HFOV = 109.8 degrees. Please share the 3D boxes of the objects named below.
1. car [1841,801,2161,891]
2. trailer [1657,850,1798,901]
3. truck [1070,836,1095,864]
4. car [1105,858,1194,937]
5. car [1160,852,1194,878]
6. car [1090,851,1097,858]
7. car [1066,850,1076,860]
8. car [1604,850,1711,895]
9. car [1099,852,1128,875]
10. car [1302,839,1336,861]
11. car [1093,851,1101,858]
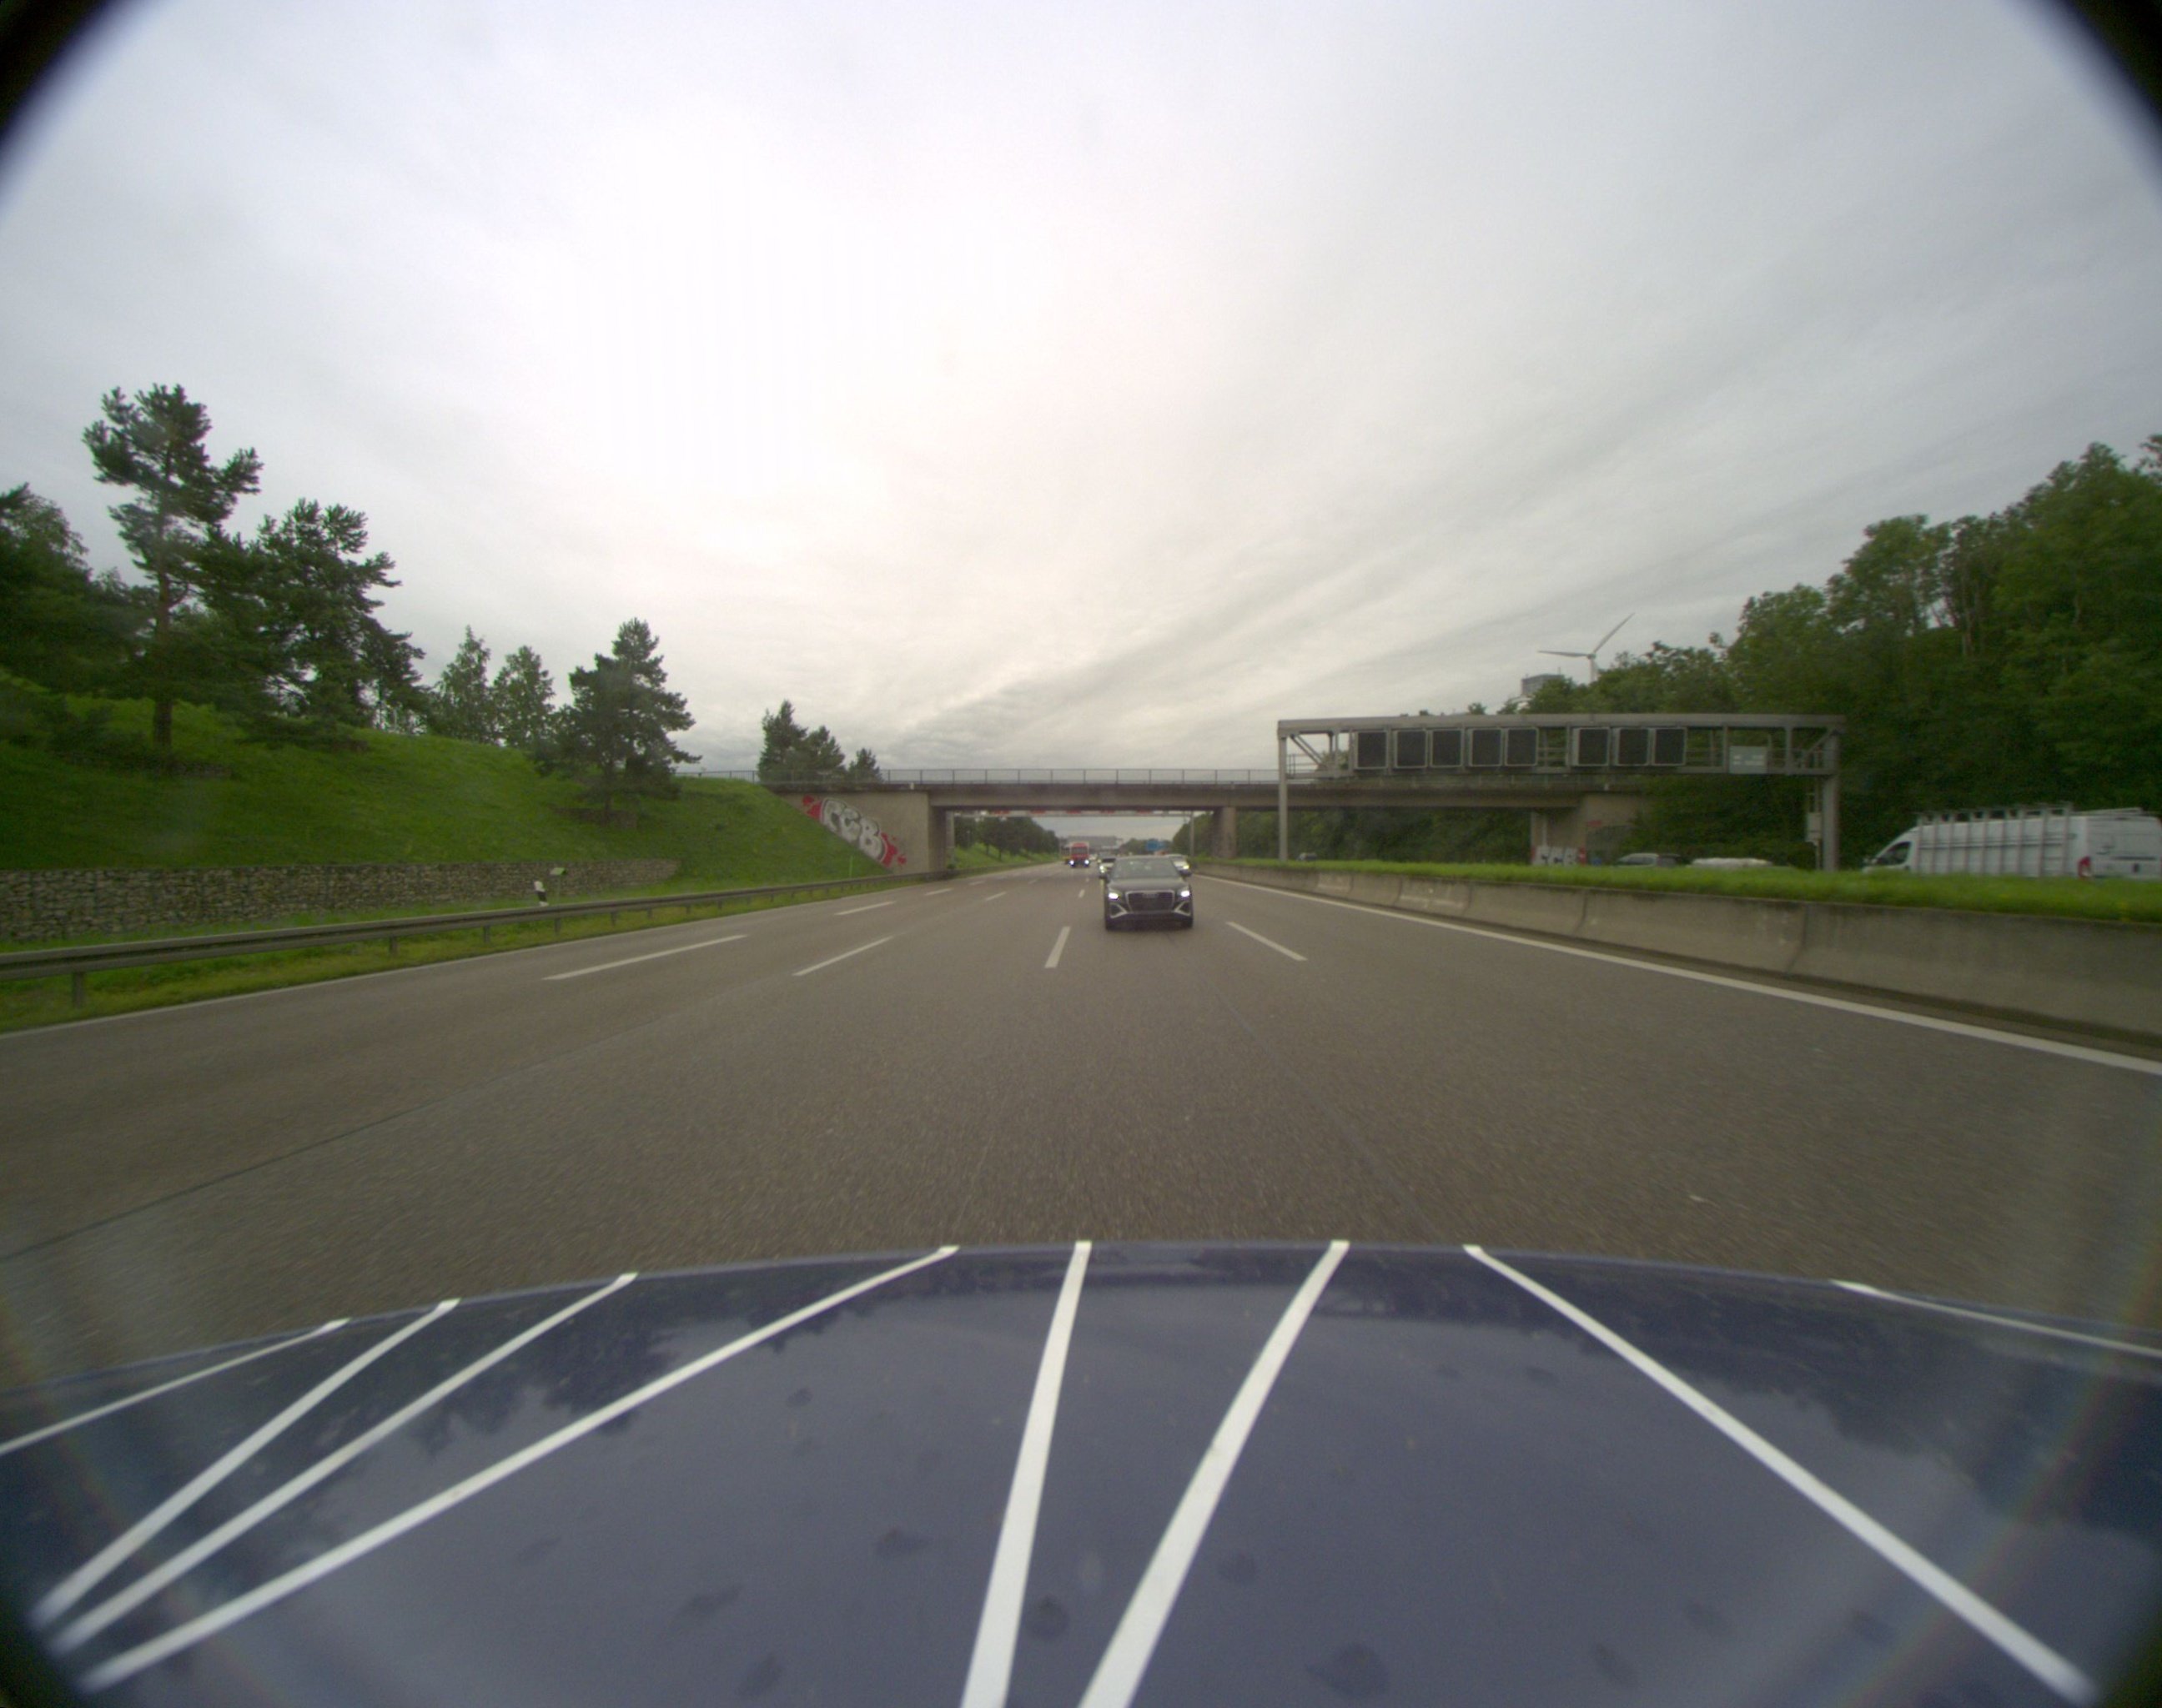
[{"bbox_3d":[25.092,-0.240,21.013,2.201,2.072,6.066,-2,1,2],"label":"car"},{"bbox_3d":[28.414,0.864,33.682,1.998,2.002,5.177,-2,1,3],"label":"trailer"},{"bbox_3d":[0.303,-0.613,106.953,2.836,3.634,10.672,-2,1,3],"label":"truck"},{"bbox_3d":[1.382,0.853,16.409,1.616,1.403,3.326,-2,1,1],"label":"car"},{"bbox_3d":[6.349,0.694,50.835,1.757,1.608,4.663,-1,0,1],"label":"car"},{"bbox_3d":[3.140,0.122,192.861,1.690,1.875,3.741,-2,1,2],"label":"car"},{"bbox_3d":[-2.087,0.196,159.998,1.998,2.002,4.000,-2,1,2],"label":"car"},{"bbox_3d":[28.506,0.861,37.753,1.998,2.002,4.365,-2,1,1],"label":"car"},{"bbox_3d":[2.405,0.666,57.081,1.998,1.555,4.910,-2,0,1],"label":"car"},{"bbox_3d":[22.290,-0.401,71.328,1.998,1.928,3.999,-1,1,1],"label":"car"},{"bbox_3d":[4.541,0.128,214.659,1.998,2.002,3.999,-2,1,1],"label":"car"}]
